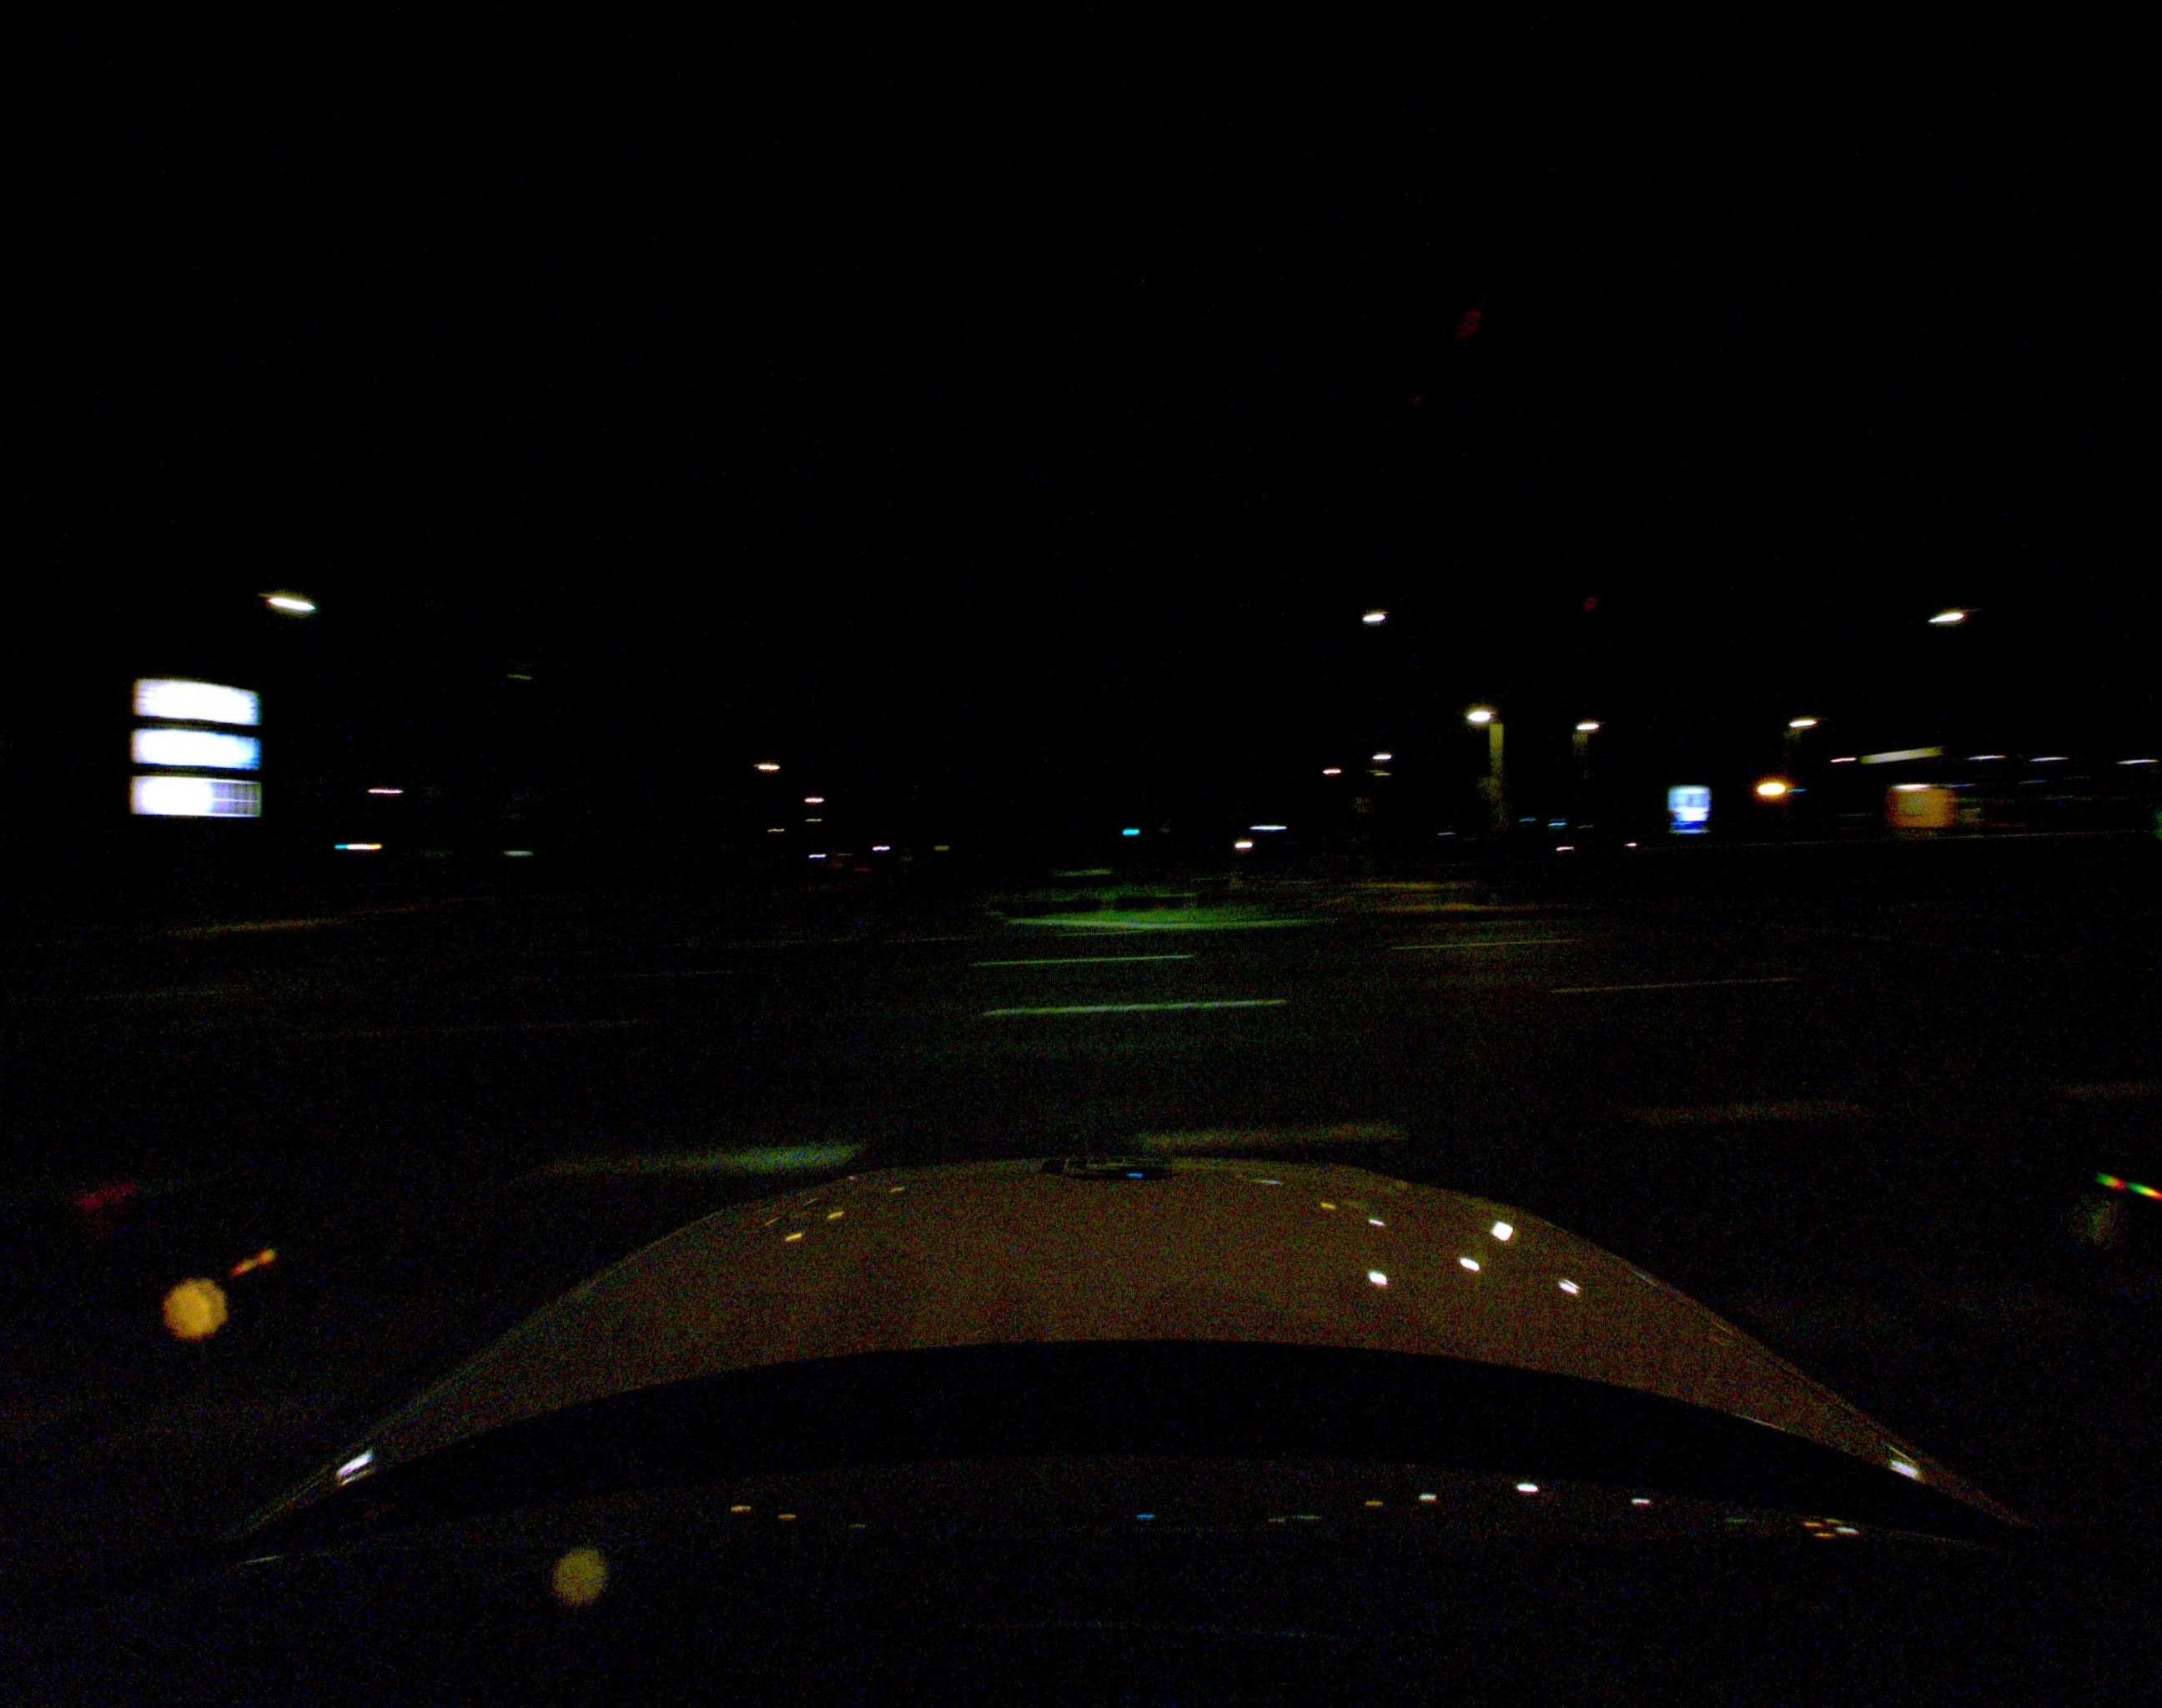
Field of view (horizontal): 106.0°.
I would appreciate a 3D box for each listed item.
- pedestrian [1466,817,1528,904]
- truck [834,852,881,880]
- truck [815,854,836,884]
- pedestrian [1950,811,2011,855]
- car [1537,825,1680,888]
[{"bbox_3d":[8.705,0.118,17.071,0.755,1.744,0.831,-3,1,-11],"label":"pedestrian"},{"bbox_3d":[-37.733,2.014,136.997,4.852,4.547,12.548,0,-1,-29],"label":"truck"},{"bbox_3d":[-33.139,1.898,105.531,2.590,3.707,5.701,0,-1,-19],"label":"truck"},{"bbox_3d":[32.028,-0.738,29.029,1.131,1.500,1.084,-2,-1,30],"label":"pedestrian"},{"bbox_3d":[19.481,0.092,30.168,3.981,2.013,1.996,-3,-1,-5],"label":"car"}]
